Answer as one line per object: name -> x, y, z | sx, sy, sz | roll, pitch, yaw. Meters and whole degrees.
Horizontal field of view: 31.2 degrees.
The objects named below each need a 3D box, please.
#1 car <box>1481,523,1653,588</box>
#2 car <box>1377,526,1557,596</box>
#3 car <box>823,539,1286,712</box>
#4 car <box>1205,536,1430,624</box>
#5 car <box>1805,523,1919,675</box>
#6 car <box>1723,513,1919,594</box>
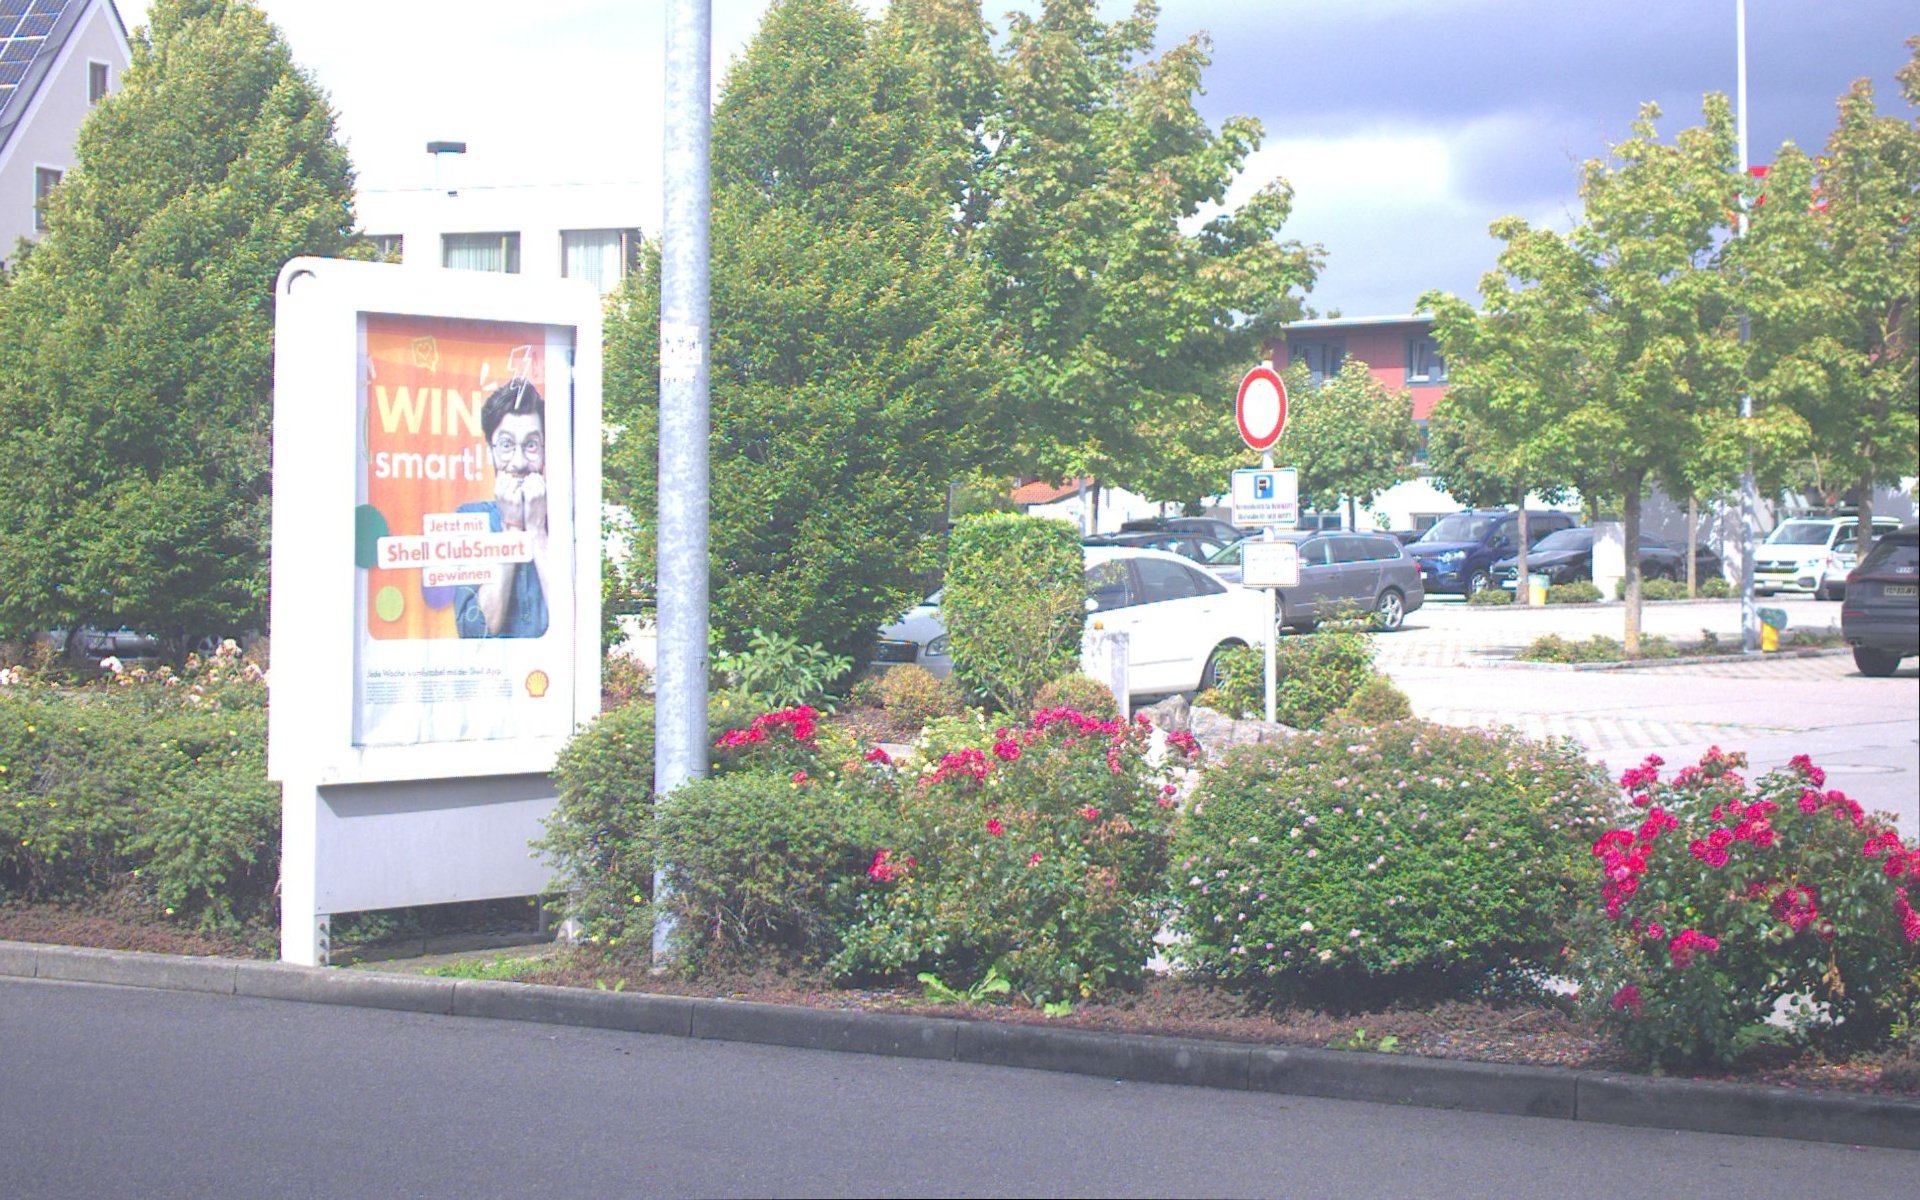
car -> 11.496, -0.837, 65.021 | 3.409, 1.174, 1.485 | 0, 1, -44
car -> 9.867, -0.756, 66.768 | 3.379, 1.316, 1.747 | 0, 1, -44
car -> 0.889, 0.204, 29.911 | 4.332, 1.399, 1.370 | 0, 1, -44
car -> 5.185, -0.288, 49.701 | 3.218, 1.224, 1.505 | 0, 1, -44
car -> 11.117, -0.006, 36.715 | 4.491, 1.543, 1.885 | 0, 1, -43
car -> 20.226, -1.084, 80.628 | 4.864, 1.827, 2.184 | 0, 1, -43
